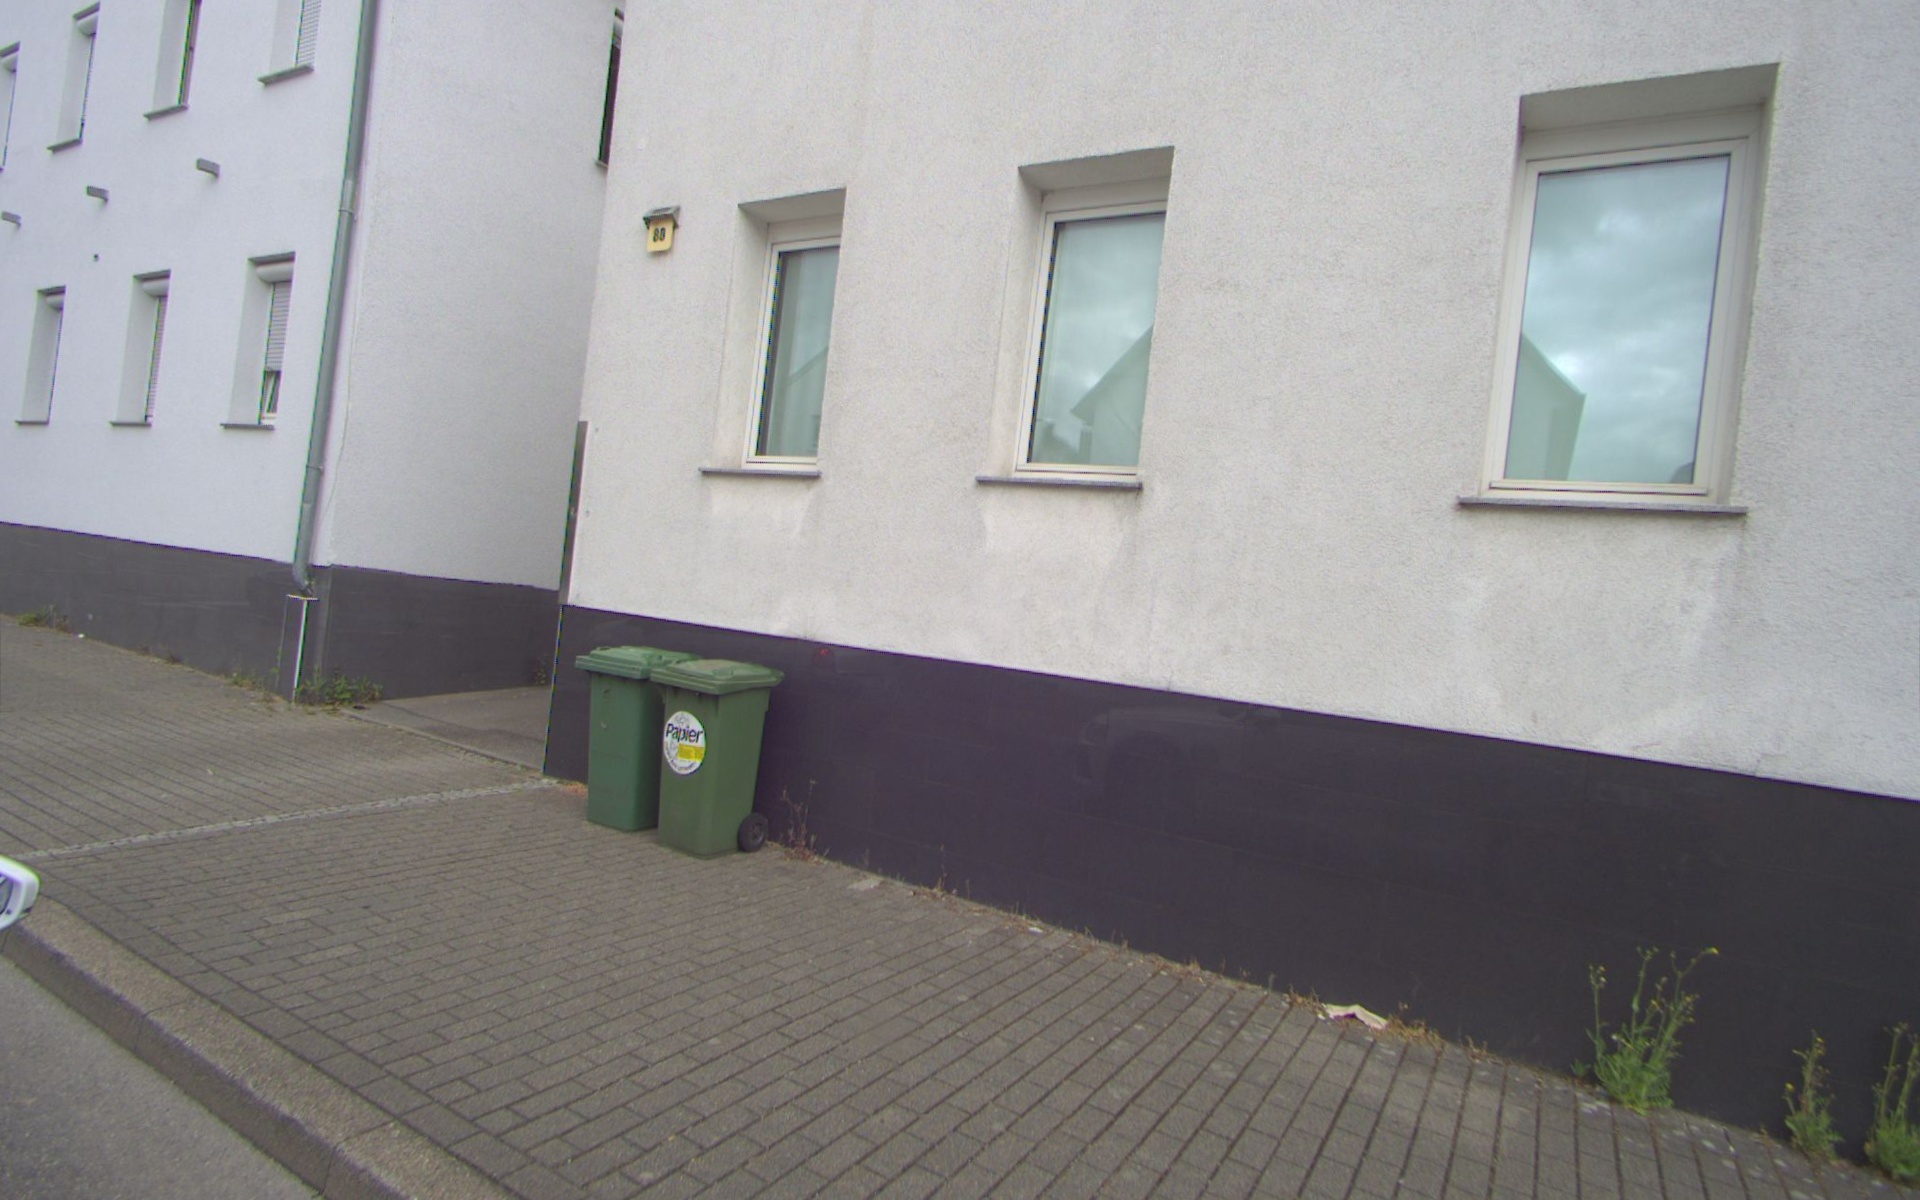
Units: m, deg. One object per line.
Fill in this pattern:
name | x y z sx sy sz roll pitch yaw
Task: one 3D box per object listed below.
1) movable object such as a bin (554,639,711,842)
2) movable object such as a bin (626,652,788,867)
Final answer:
movable object such as a bin | -1.722 0.709 5.311 0.479 0.953 0.540 7 2 32
movable object such as a bin | -1.264 0.763 5.054 0.479 0.953 0.540 7 2 32
